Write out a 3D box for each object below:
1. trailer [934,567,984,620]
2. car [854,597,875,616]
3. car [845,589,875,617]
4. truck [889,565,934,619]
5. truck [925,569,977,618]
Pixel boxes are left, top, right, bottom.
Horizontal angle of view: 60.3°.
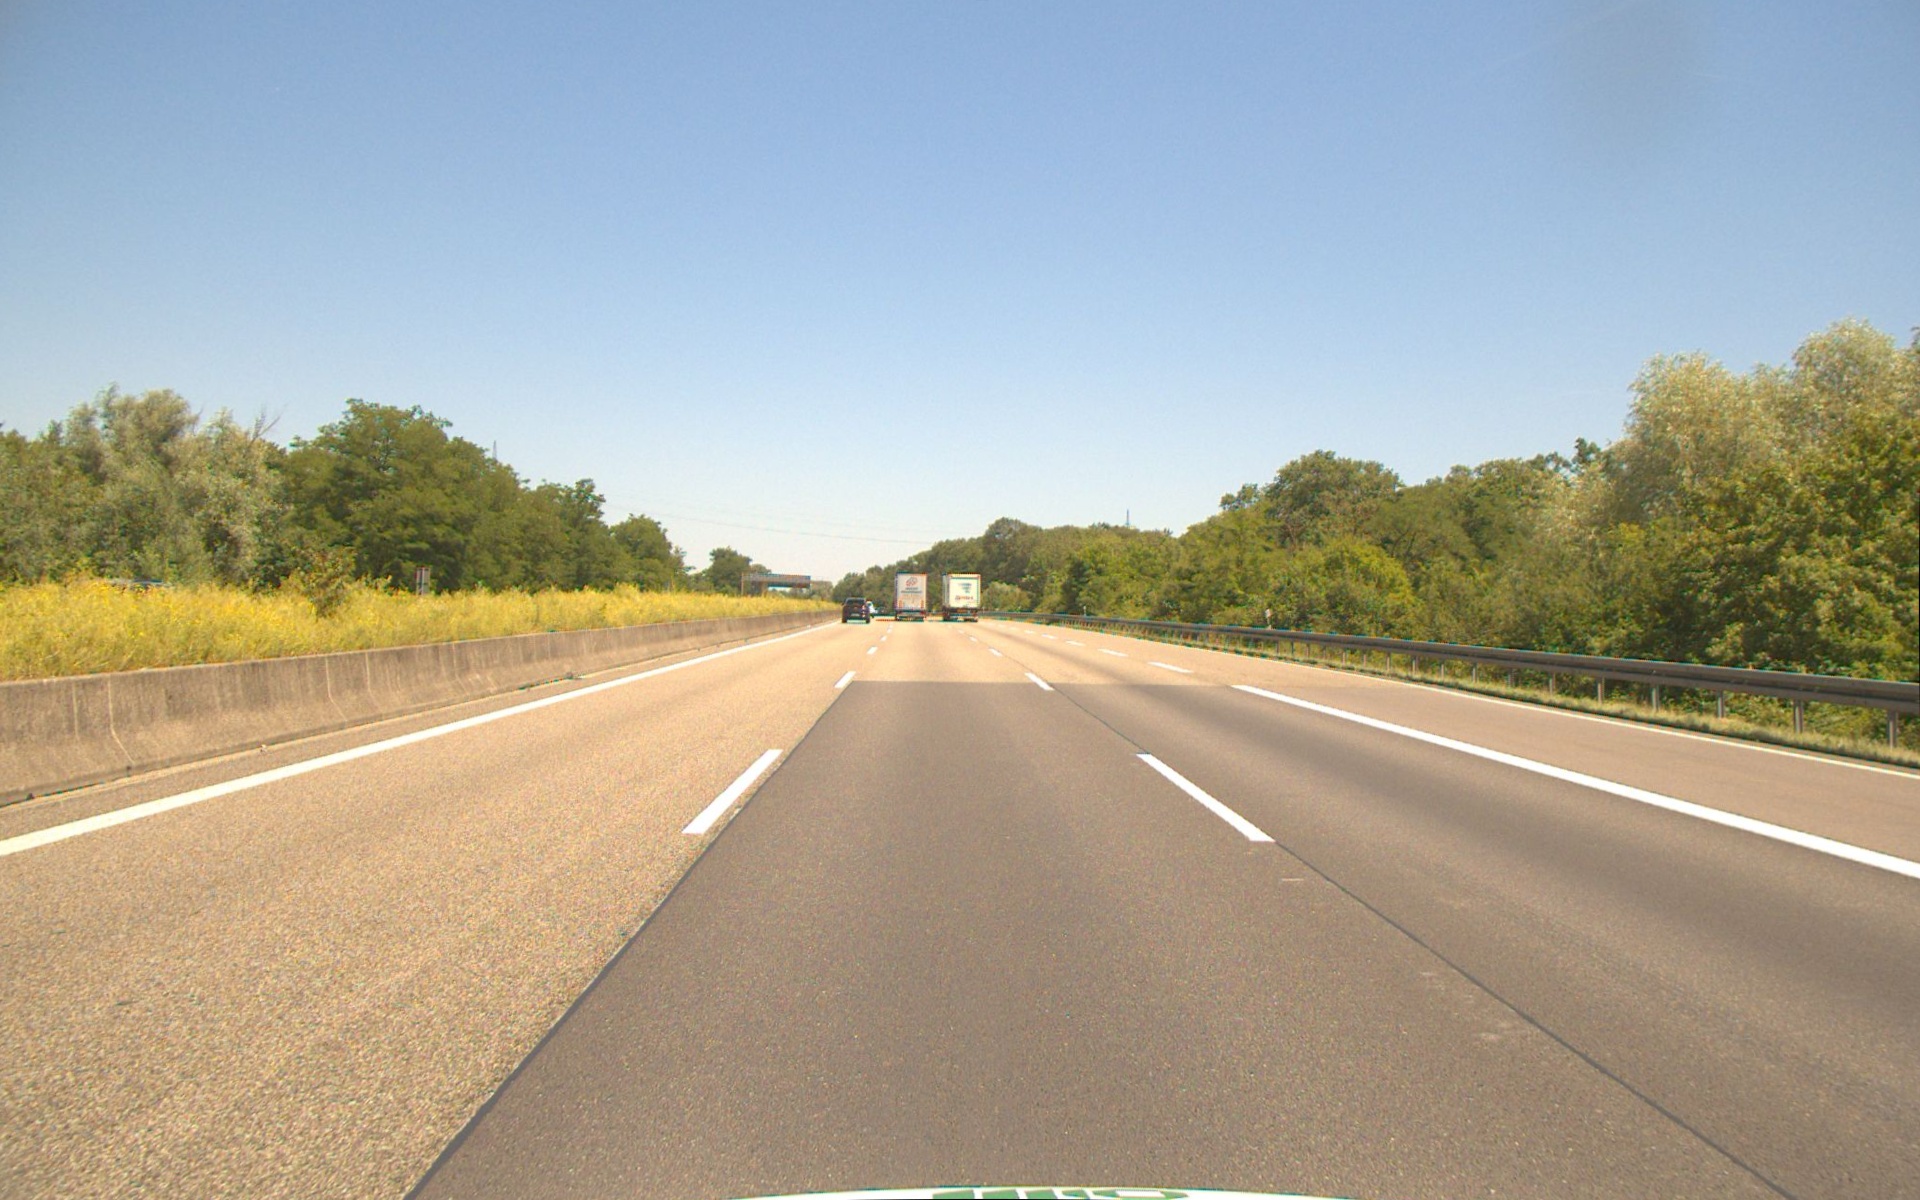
[{"bbox_3d":[-0.128,-0.544,139.642,3.302,4.215,9.080,1,0,-6],"label":"trailer"},{"bbox_3d":[-9.898,0.648,171.252,1.955,1.907,3.995,2,0,-6],"label":"car"},{"bbox_3d":[-7.046,0.219,116.608,1.953,1.907,3.998,1,0,-2],"label":"car"},{"bbox_3d":[-4.091,-0.650,138.468,3.166,4.275,8.457,1,0,-5],"label":"truck"},{"bbox_3d":[-0.880,-0.577,147.454,3.262,4.124,10.937,1,0,-7],"label":"truck"}]
